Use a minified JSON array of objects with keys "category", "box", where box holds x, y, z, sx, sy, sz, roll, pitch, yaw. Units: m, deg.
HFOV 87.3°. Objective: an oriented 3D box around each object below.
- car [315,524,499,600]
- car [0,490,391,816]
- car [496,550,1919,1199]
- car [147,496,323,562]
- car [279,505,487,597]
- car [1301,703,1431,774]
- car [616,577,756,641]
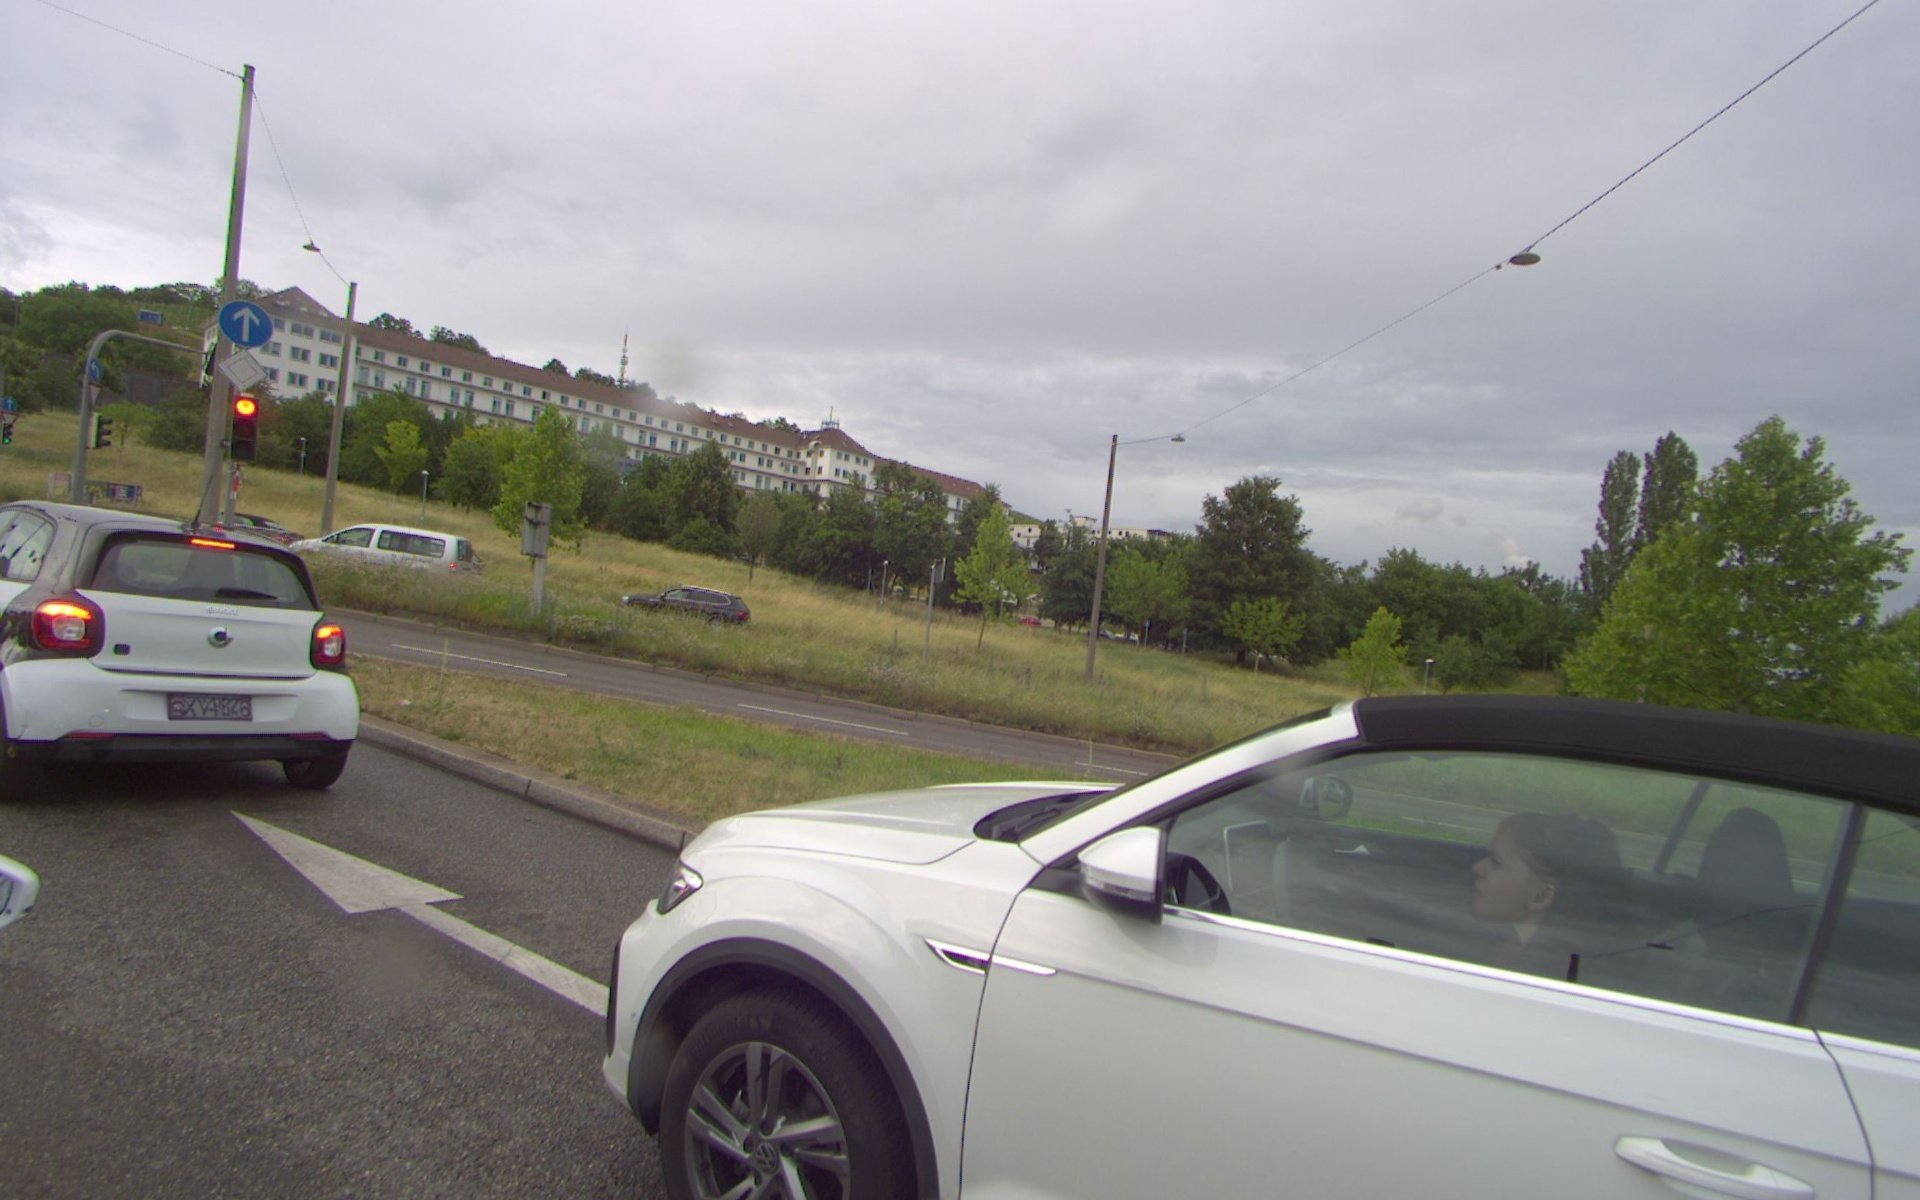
[{"category":"car","box":[-17.034,-1.122,31.217,4.449,1.639,1.998,8,-2,-9]},{"category":"car","box":[-5.336,0.203,6.355,3.398,1.520,1.659,6,-2,36]},{"category":"car","box":[1.193,0.933,2.173,4.156,1.571,1.718,6,-2,29]},{"category":"car","box":[-25.008,-2.434,34.819,4.422,1.494,2.000,7,-2,-3]},{"category":"car","box":[-16.313,-1.343,28.659,4.619,1.871,1.820,8,-2,-9]},{"category":"car","box":[15.394,5.232,38.271,3.932,2.037,1.998,7,-2,-8]},{"category":"car","box":[-9.629,0.335,35.678,4.342,1.655,2.000,7,-2,-5]}]
